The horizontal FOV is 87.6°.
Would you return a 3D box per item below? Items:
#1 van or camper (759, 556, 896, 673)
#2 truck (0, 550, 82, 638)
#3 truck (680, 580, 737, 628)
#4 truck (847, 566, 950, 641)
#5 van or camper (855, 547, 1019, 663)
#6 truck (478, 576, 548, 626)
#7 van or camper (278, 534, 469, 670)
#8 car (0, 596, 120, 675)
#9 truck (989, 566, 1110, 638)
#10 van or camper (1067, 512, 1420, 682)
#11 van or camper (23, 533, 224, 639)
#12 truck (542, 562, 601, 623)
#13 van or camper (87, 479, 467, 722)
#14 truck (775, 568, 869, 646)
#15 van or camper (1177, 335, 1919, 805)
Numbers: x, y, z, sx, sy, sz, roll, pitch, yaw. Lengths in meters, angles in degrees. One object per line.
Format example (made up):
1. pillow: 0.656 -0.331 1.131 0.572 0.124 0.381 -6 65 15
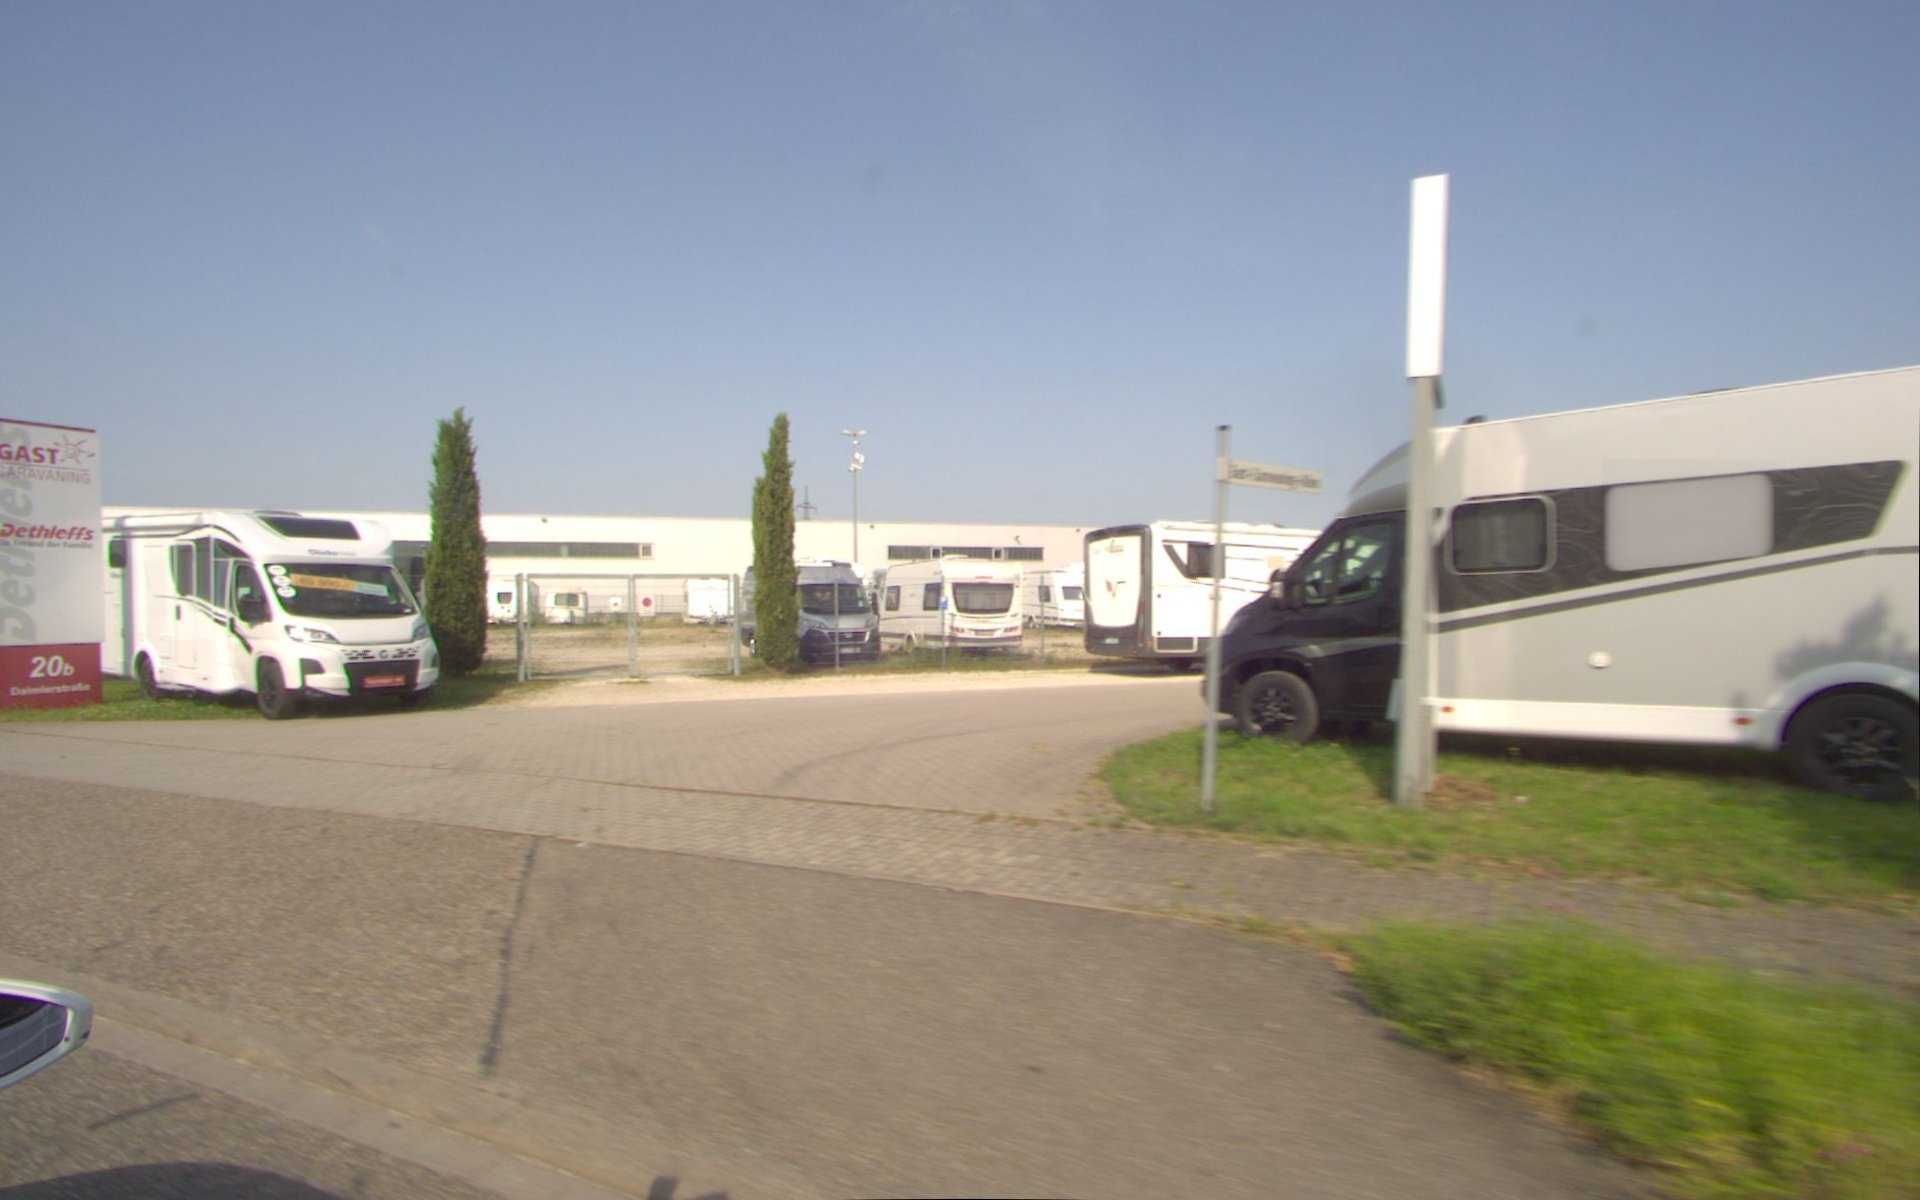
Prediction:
1. van or camper: -3.505 0.291 25.246 1.967 2.568 6.131 -1 1 -22
2. truck: -46.784 -0.293 46.096 9.159 4.026 2.451 0 1 -22
3. truck: -13.218 0.187 52.316 2.416 2.295 7.197 0 0 -18
4. truck: -2.796 0.121 42.583 2.416 2.884 7.983 0 0 -18
5. van or camper: -0.834 0.118 27.182 2.289 2.742 6.589 0 0 -22
6. truck: -22.345 0.037 50.405 2.416 2.295 7.983 0 0 -18
7. van or camper: -12.923 0.014 22.638 2.448 2.593 6.608 0 1 -19
8. car: -19.397 0.679 19.939 2.130 1.496 3.999 0 0 -4
9. truck: 3.758 0.073 44.389 2.416 2.884 7.983 0 0 -18
10. van or camper: 5.970 -0.058 20.848 7.168 3.072 2.575 0 0 -25
11. van or camper: -27.330 -0.433 33.143 2.624 3.125 6.779 0 1 -17
12. truck: -19.926 -0.369 51.648 2.416 2.864 7.983 0 0 -18
13. van or camper: -10.510 -0.001 15.163 6.873 2.983 2.325 0 1 34
14. truck: -5.788 0.235 40.937 2.416 2.884 7.983 0 0 -18
15. van or camper: 5.560 -0.155 7.979 7.255 2.885 2.338 -1 0 40
